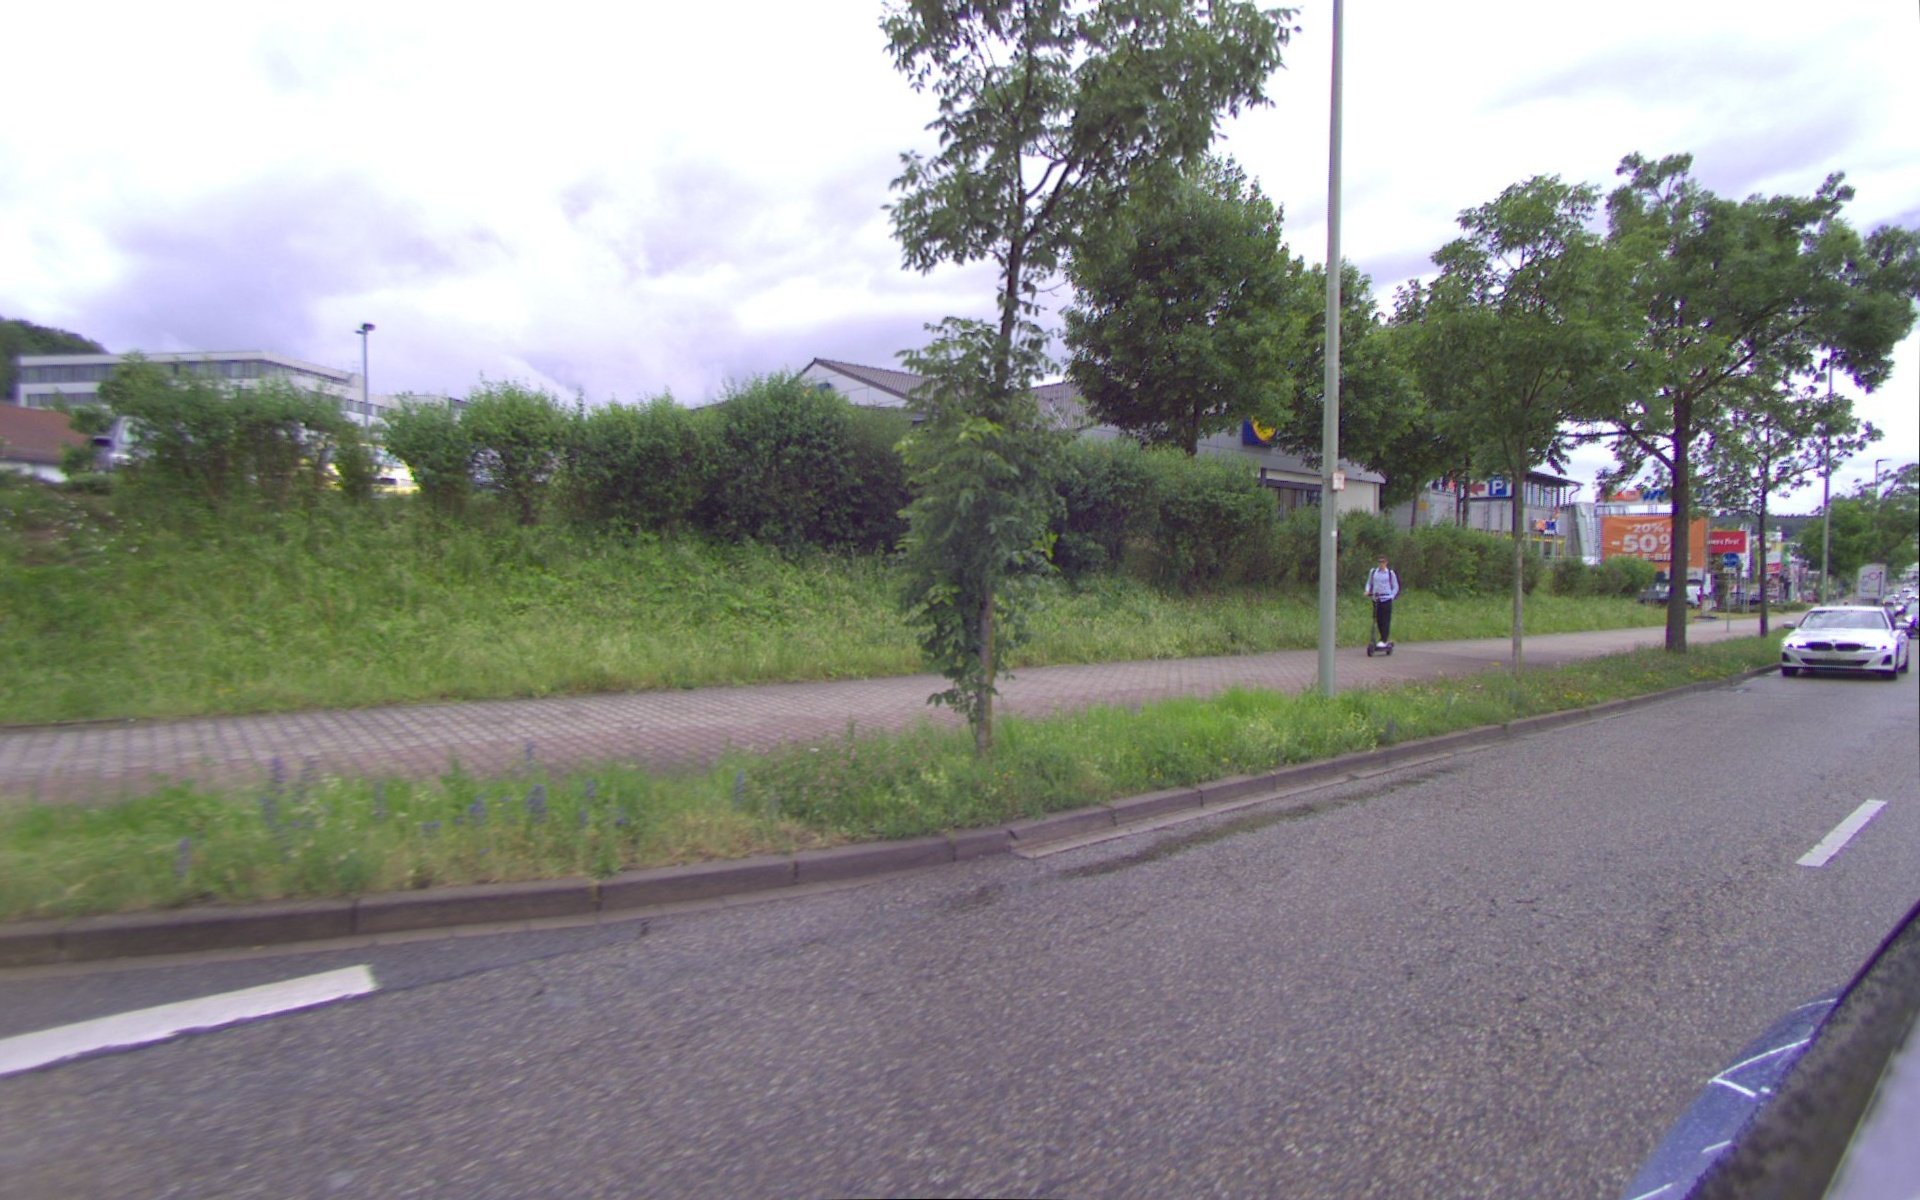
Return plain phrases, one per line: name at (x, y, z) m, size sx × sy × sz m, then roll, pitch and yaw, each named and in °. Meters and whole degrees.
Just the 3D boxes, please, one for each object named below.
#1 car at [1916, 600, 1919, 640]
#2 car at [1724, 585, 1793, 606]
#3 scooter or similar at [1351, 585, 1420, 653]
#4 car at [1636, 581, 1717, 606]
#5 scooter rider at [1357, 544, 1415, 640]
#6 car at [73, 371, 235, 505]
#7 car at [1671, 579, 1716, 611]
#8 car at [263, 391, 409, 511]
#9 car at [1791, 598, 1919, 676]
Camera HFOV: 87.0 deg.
car at (41.446, 0.816, 42.487) m, size 1.793 × 1.601 × 4.154 m, roll 0°, pitch 0°, yaw 42°
car at (75.220, -0.430, 95.429) m, size 1.890 × 1.620 × 4.673 m, roll 1°, pitch 4°, yaw -36°
scooter or similar at (8.564, 0.367, 20.366) m, size 1.376 × 1.279 × 0.696 m, roll -1°, pitch 4°, yaw -41°
car at (46.374, -0.424, 65.609) m, size 4.072 × 1.457 × 1.776 m, roll 2°, pitch -1°, yaw 32°
scooter rider at (8.559, -0.175, 20.321) m, size 0.843 × 1.842 × 0.696 m, roll -1°, pitch 4°, yaw -41°
car at (-12.810, -2.478, 16.252) m, size 1.830 × 1.756 × 4.002 m, roll 0°, pitch 5°, yaw -37°
car at (61.303, -0.413, 84.549) m, size 5.588 × 2.569 × 2.228 m, roll 0°, pitch 0°, yaw -45°
car at (-11.100, -2.535, 17.874) m, size 1.830 × 1.756 × 4.002 m, roll 0°, pitch 5°, yaw -37°
car at (19.096, 0.700, 21.438) m, size 4.466 × 1.458 × 1.805 m, roll 0°, pitch 0°, yaw -44°
